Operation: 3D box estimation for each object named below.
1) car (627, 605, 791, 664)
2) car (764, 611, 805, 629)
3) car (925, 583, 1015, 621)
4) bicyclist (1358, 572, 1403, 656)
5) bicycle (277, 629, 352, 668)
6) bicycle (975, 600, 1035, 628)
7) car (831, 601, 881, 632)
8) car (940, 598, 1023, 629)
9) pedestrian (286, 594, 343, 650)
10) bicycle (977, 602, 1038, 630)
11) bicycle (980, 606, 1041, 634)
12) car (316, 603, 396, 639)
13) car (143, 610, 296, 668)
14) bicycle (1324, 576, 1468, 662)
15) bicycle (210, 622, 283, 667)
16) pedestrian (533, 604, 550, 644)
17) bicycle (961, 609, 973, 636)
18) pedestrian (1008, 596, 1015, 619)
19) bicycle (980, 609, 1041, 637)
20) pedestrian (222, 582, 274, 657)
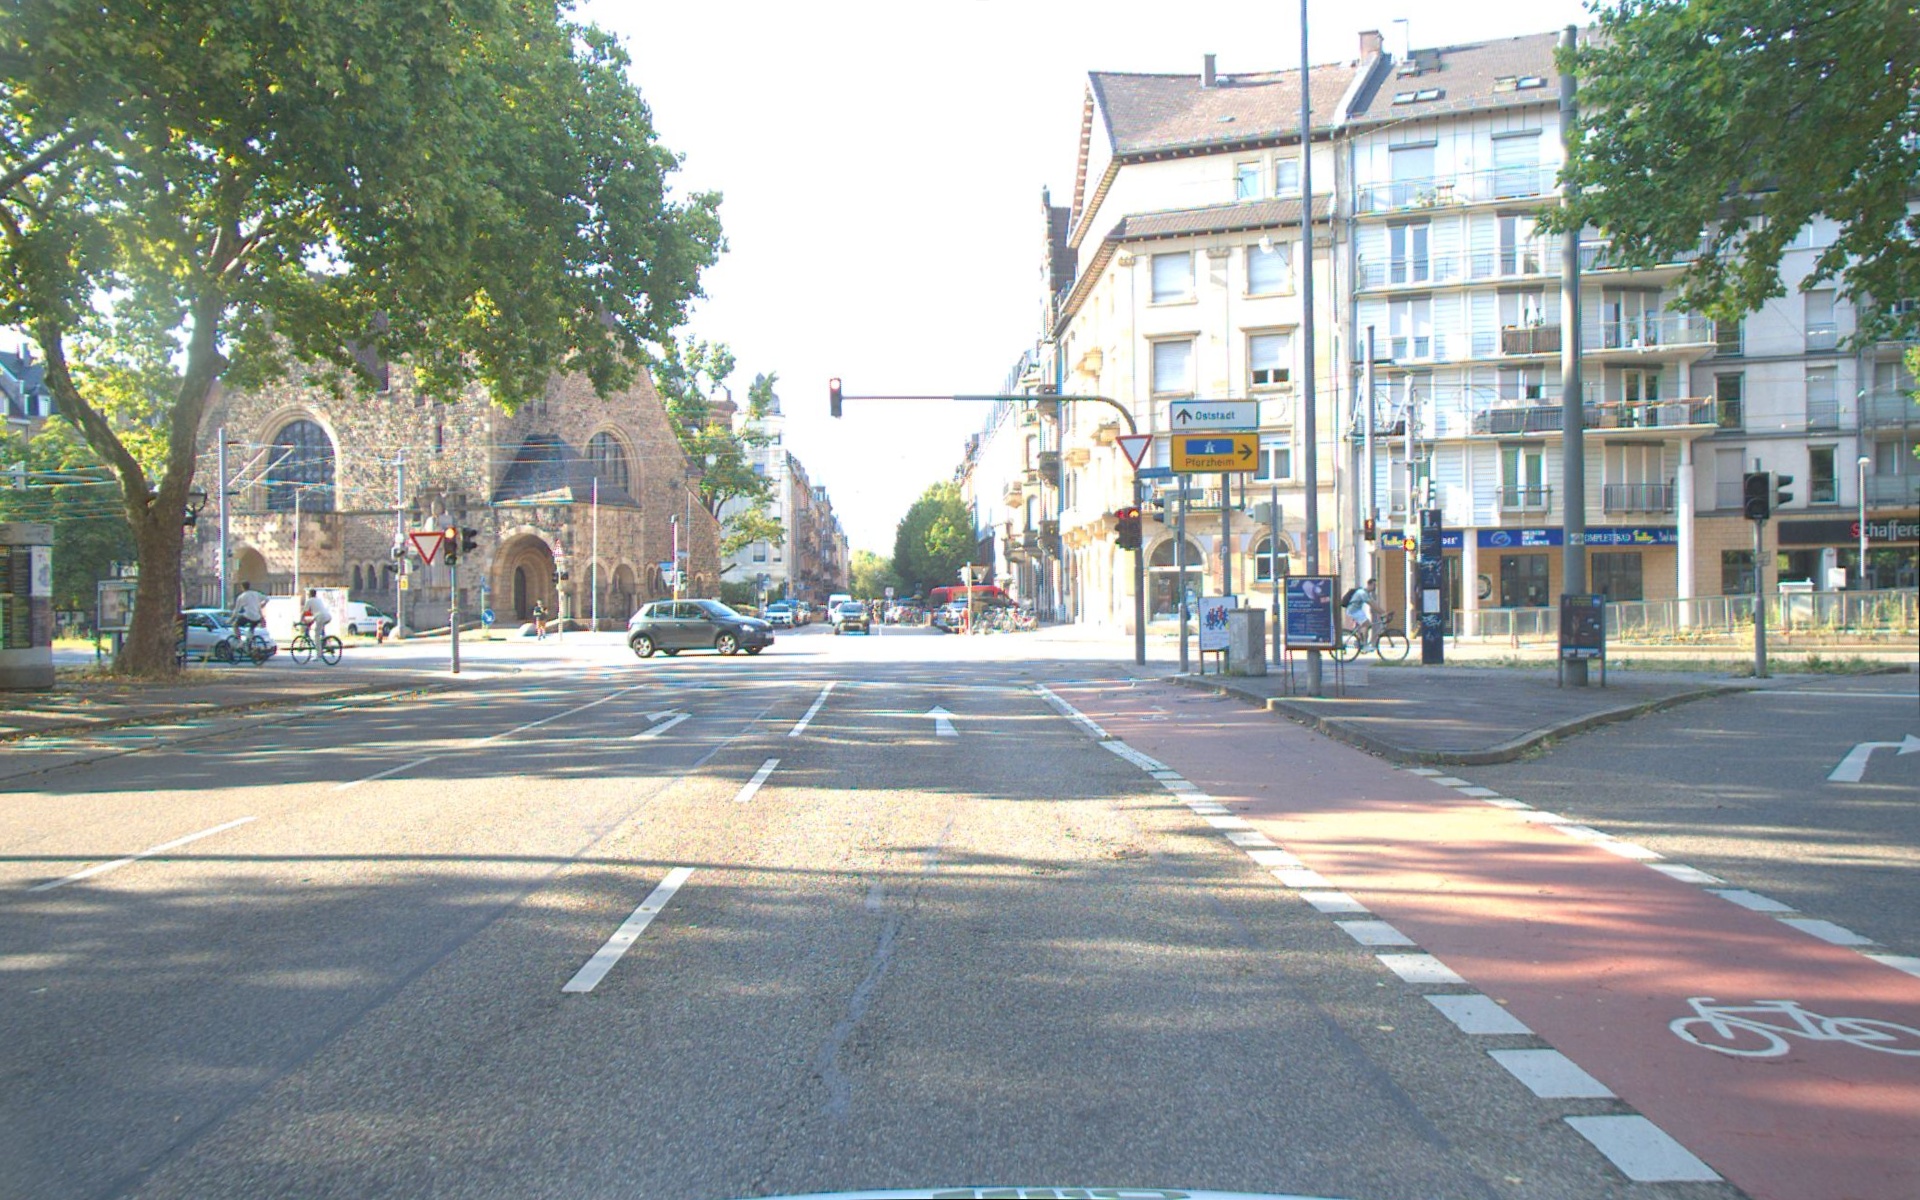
[{"bbox_3d":[-6.510,0.888,42.957,3.844,1.421,1.653,1,-1,19],"label":"car"},{"bbox_3d":[-11.739,1.345,110.717,1.560,1.164,3.385,1,-1,16],"label":"car"},{"bbox_3d":[0.608,0.138,95.526,4.951,2.049,2.138,2,-1,-38],"label":"car"},{"bbox_3d":[8.665,0.291,34.107,0.785,1.685,0.935,1,-1,10],"label":"bicyclist"},{"bbox_3d":[-15.586,1.165,39.919,1.747,0.911,0.749,0,0,29],"label":"bicycle"},{"bbox_3d":[2.094,0.661,77.555,2.748,1.225,0.509,2,-1,-5],"label":"bicycle"},{"bbox_3d":[-5.291,0.842,84.512,1.553,1.488,3.185,1,-1,15],"label":"car"},{"bbox_3d":[1.206,0.759,91.844,4.378,1.565,1.853,2,-1,-35],"label":"car"},{"bbox_3d":[-15.553,0.528,39.855,1.028,1.300,0.791,1,-1,28],"label":"pedestrian"},{"bbox_3d":[2.202,0.765,76.751,2.748,1.225,0.516,2,-1,-5],"label":"bicycle"},{"bbox_3d":[2.300,0.916,75.352,2.748,1.225,0.509,2,-1,-5],"label":"bicycle"},{"bbox_3d":[-32.693,1.160,89.629,1.823,1.870,3.998,1,-1,23],"label":"car"},{"bbox_3d":[-21.865,1.146,48.868,3.905,1.583,1.853,1,-1,21],"label":"car"},{"bbox_3d":[8.958,0.385,34.068,2.781,1.685,0.831,1,-1,10],"label":"bicycle"},{"bbox_3d":[-16.821,1.051,39.003,1.751,0.999,0.655,1,-1,31],"label":"bicycle"},{"bbox_3d":[-19.664,1.127,77.720,0.597,1.822,0.710,1,-1,-1],"label":"pedestrian"},{"bbox_3d":[0.330,1.040,77.490,0.498,1.225,2.091,1,-1,0],"label":"bicycle"},{"bbox_3d":[3.009,0.429,96.257,0.386,1.312,0.431,1,-1,3],"label":"pedestrian"},{"bbox_3d":[2.336,1.070,76.122,2.748,1.225,0.516,2,-1,-5],"label":"bicycle"},{"bbox_3d":[-16.785,0.449,39.010,0.973,1.738,0.627,1,-1,30],"label":"pedestrian"}]
